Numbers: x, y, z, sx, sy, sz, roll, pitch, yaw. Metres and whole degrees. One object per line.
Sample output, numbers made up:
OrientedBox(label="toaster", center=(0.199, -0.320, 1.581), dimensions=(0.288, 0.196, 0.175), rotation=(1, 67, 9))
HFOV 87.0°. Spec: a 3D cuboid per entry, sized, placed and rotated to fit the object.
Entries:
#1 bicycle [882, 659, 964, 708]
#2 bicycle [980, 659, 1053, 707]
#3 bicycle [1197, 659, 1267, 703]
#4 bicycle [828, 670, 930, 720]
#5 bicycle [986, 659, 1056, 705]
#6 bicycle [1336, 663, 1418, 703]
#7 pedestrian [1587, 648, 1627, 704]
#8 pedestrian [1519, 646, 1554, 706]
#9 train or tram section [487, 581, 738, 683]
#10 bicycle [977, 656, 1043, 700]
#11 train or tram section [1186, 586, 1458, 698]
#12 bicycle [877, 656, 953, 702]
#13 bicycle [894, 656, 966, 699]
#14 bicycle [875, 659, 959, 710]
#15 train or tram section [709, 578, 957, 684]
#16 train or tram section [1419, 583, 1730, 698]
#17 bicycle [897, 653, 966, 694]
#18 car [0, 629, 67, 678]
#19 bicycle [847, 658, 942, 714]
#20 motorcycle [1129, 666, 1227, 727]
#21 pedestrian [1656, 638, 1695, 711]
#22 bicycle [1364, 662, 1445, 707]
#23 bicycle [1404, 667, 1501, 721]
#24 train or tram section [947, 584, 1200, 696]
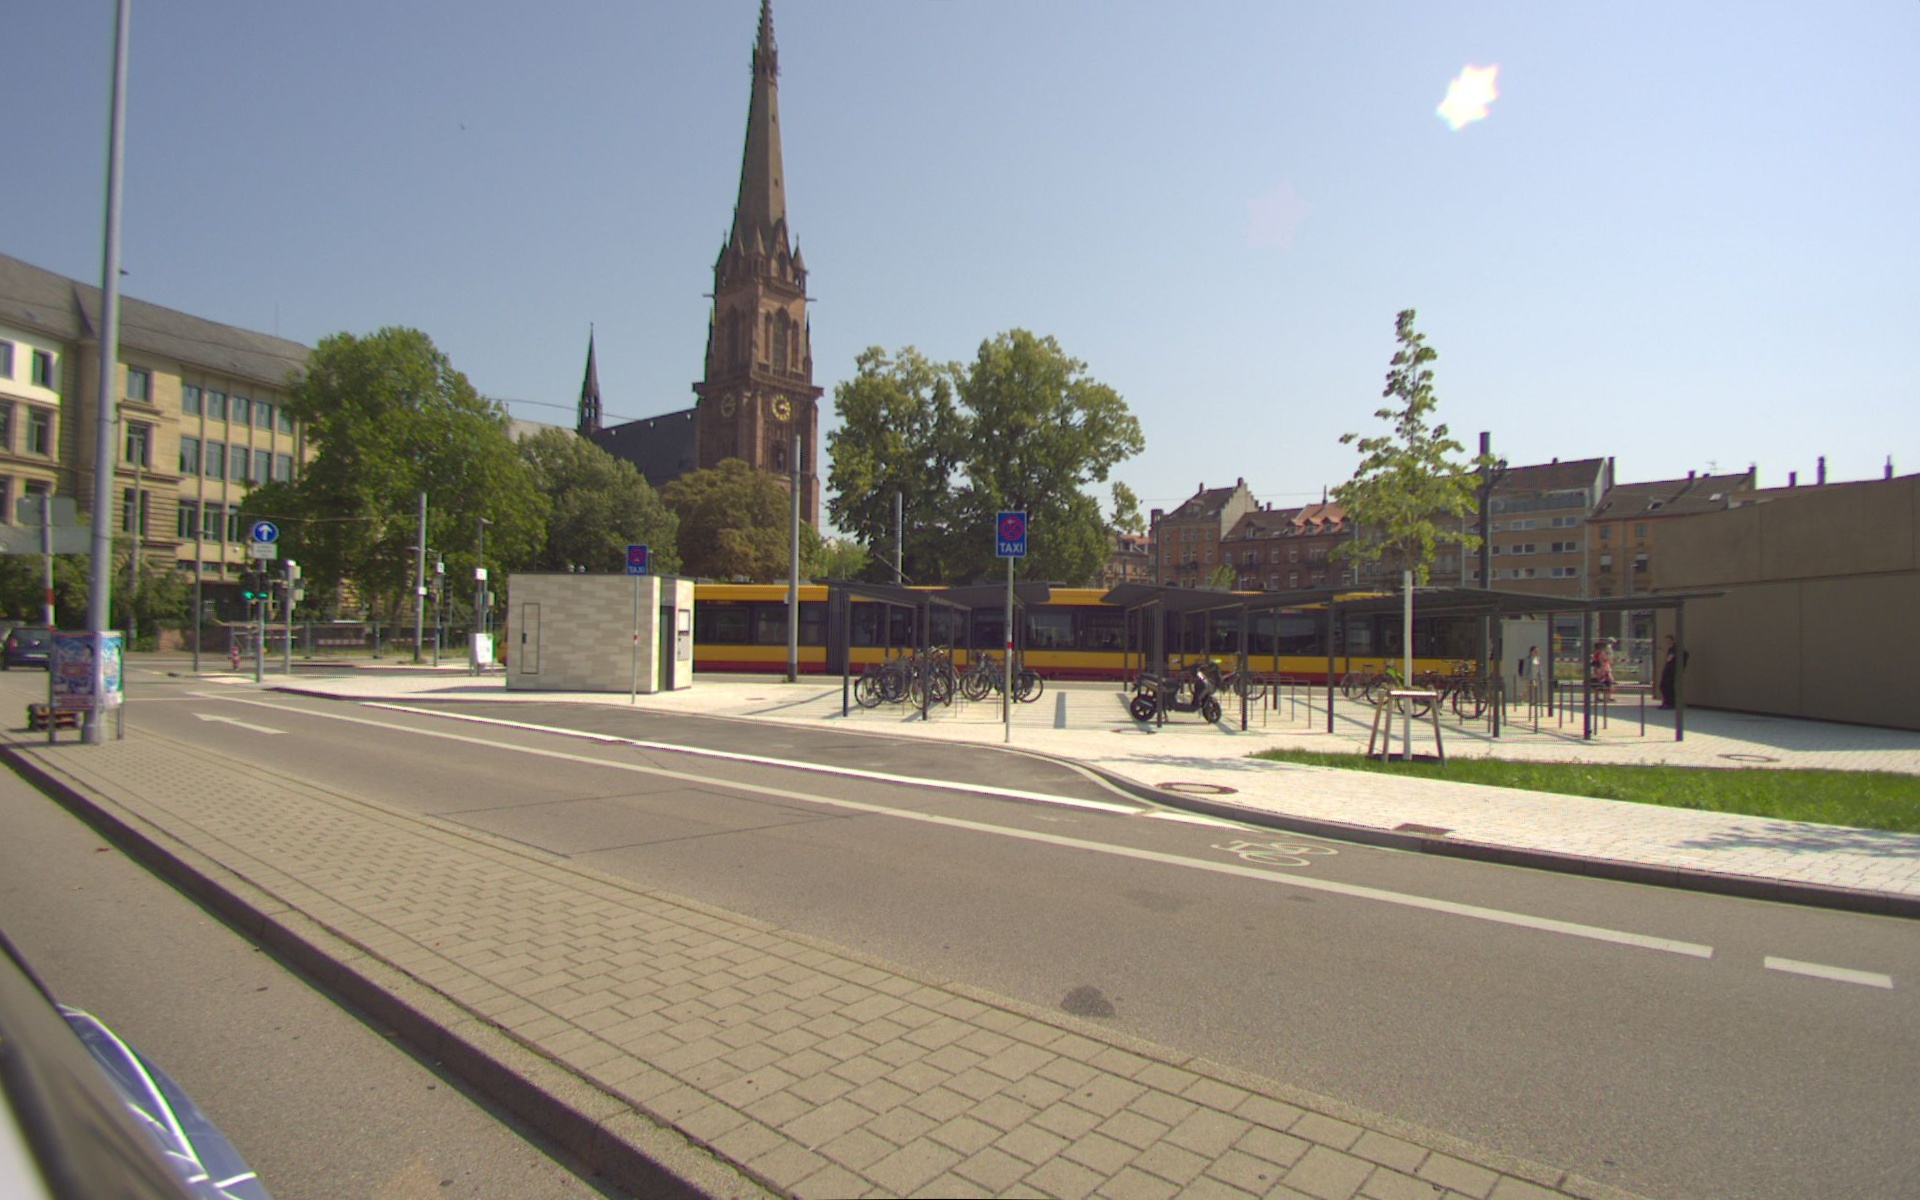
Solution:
OrientedBox(label="bicycle", center=(-0.824, 1.848, 22.623), dimensions=(1.750, 1.048, 0.525), rotation=(0, -3, 9))
OrientedBox(label="bicycle", center=(1.272, 1.874, 22.861), dimensions=(1.622, 1.048, 0.412), rotation=(0, -3, 9))
OrientedBox(label="bicycle", center=(6.648, 1.973, 24.769), dimensions=(1.622, 1.048, 0.412), rotation=(0, -3, 9))
OrientedBox(label="bicycle", center=(-1.543, 1.799, 19.273), dimensions=(1.877, 0.890, 0.490), rotation=(0, -3, 9))
OrientedBox(label="bicycle", center=(1.451, 1.932, 23.898), dimensions=(1.622, 1.048, 0.412), rotation=(0, -3, 9))
OrientedBox(label="bicycle", center=(10.583, 2.102, 25.727), dimensions=(1.833, 0.993, 0.512), rotation=(0, -3, 5))
OrientedBox(label="pedestrian", center=(16.748, 1.954, 26.211), dimensions=(0.737, 1.421, 0.442), rotation=(0, -2, 10))
OrientedBox(label="pedestrian", center=(14.005, 1.829, 24.599), dimensions=(0.667, 1.421, 0.438), rotation=(-1, -3, 40))
OrientedBox(label="train or tram section", center=(-12.705, 1.254, 37.481), dimensions=(8.225, 3.588, 3.132), rotation=(0, -4, 6))
OrientedBox(label="bicycle", center=(1.250, 1.937, 25.210), dimensions=(1.622, 1.048, 0.412), rotation=(0, -3, 9))
OrientedBox(label="train or tram section", center=(12.129, 1.470, 34.701), dimensions=(8.144, 3.625, 3.155), rotation=(0, -3, 6))
OrientedBox(label="bicycle", center=(-1.079, 1.884, 24.310), dimensions=(1.750, 1.048, 0.525), rotation=(0, -3, 9))
OrientedBox(label="bicycle", center=(-0.757, 1.940, 25.599), dimensions=(1.750, 1.048, 0.525), rotation=(0, -3, 9))
OrientedBox(label="bicycle", center=(-0.932, 1.822, 21.929), dimensions=(1.750, 1.048, 0.525), rotation=(0, -3, 9))
OrientedBox(label="train or tram section", center=(-4.439, 1.173, 36.559), dimensions=(8.421, 3.625, 3.155), rotation=(0, -3, 6))
OrientedBox(label="train or tram section", center=(20.207, 1.397, 33.829), dimensions=(8.142, 3.597, 3.139), rotation=(-1, -4, 6))
OrientedBox(label="bicycle", center=(-0.749, 1.948, 26.774), dimensions=(1.750, 1.048, 0.525), rotation=(0, -3, 9))
OrientedBox(label="car", center=(-30.705, 1.757, 33.230), dimensions=(3.584, 1.509, 1.564), rotation=(-2, -5, 41))
OrientedBox(label="bicycle", center=(-1.329, 1.746, 20.601), dimensions=(1.844, 1.090, 0.525), rotation=(0, -3, 9))
OrientedBox(label="motorcycle", center=(4.052, 1.789, 18.924), dimensions=(1.759, 1.077, 0.490), rotation=(0, -3, 9))
OrientedBox(label="pedestrian", center=(16.865, 1.748, 23.864), dimensions=(0.562, 1.691, 0.443), rotation=(0, -2, 6))
OrientedBox(label="bicycle", center=(10.512, 1.991, 23.950), dimensions=(1.708, 1.048, 0.514), rotation=(1, -3, -6))
OrientedBox(label="bicycle", center=(10.002, 1.909, 20.590), dimensions=(1.710, 1.048, 0.513), rotation=(0, -3, -1))
OrientedBox(label="train or tram section", center=(3.923, 1.409, 35.612), dimensions=(8.421, 3.625, 3.155), rotation=(1, -3, 6))
